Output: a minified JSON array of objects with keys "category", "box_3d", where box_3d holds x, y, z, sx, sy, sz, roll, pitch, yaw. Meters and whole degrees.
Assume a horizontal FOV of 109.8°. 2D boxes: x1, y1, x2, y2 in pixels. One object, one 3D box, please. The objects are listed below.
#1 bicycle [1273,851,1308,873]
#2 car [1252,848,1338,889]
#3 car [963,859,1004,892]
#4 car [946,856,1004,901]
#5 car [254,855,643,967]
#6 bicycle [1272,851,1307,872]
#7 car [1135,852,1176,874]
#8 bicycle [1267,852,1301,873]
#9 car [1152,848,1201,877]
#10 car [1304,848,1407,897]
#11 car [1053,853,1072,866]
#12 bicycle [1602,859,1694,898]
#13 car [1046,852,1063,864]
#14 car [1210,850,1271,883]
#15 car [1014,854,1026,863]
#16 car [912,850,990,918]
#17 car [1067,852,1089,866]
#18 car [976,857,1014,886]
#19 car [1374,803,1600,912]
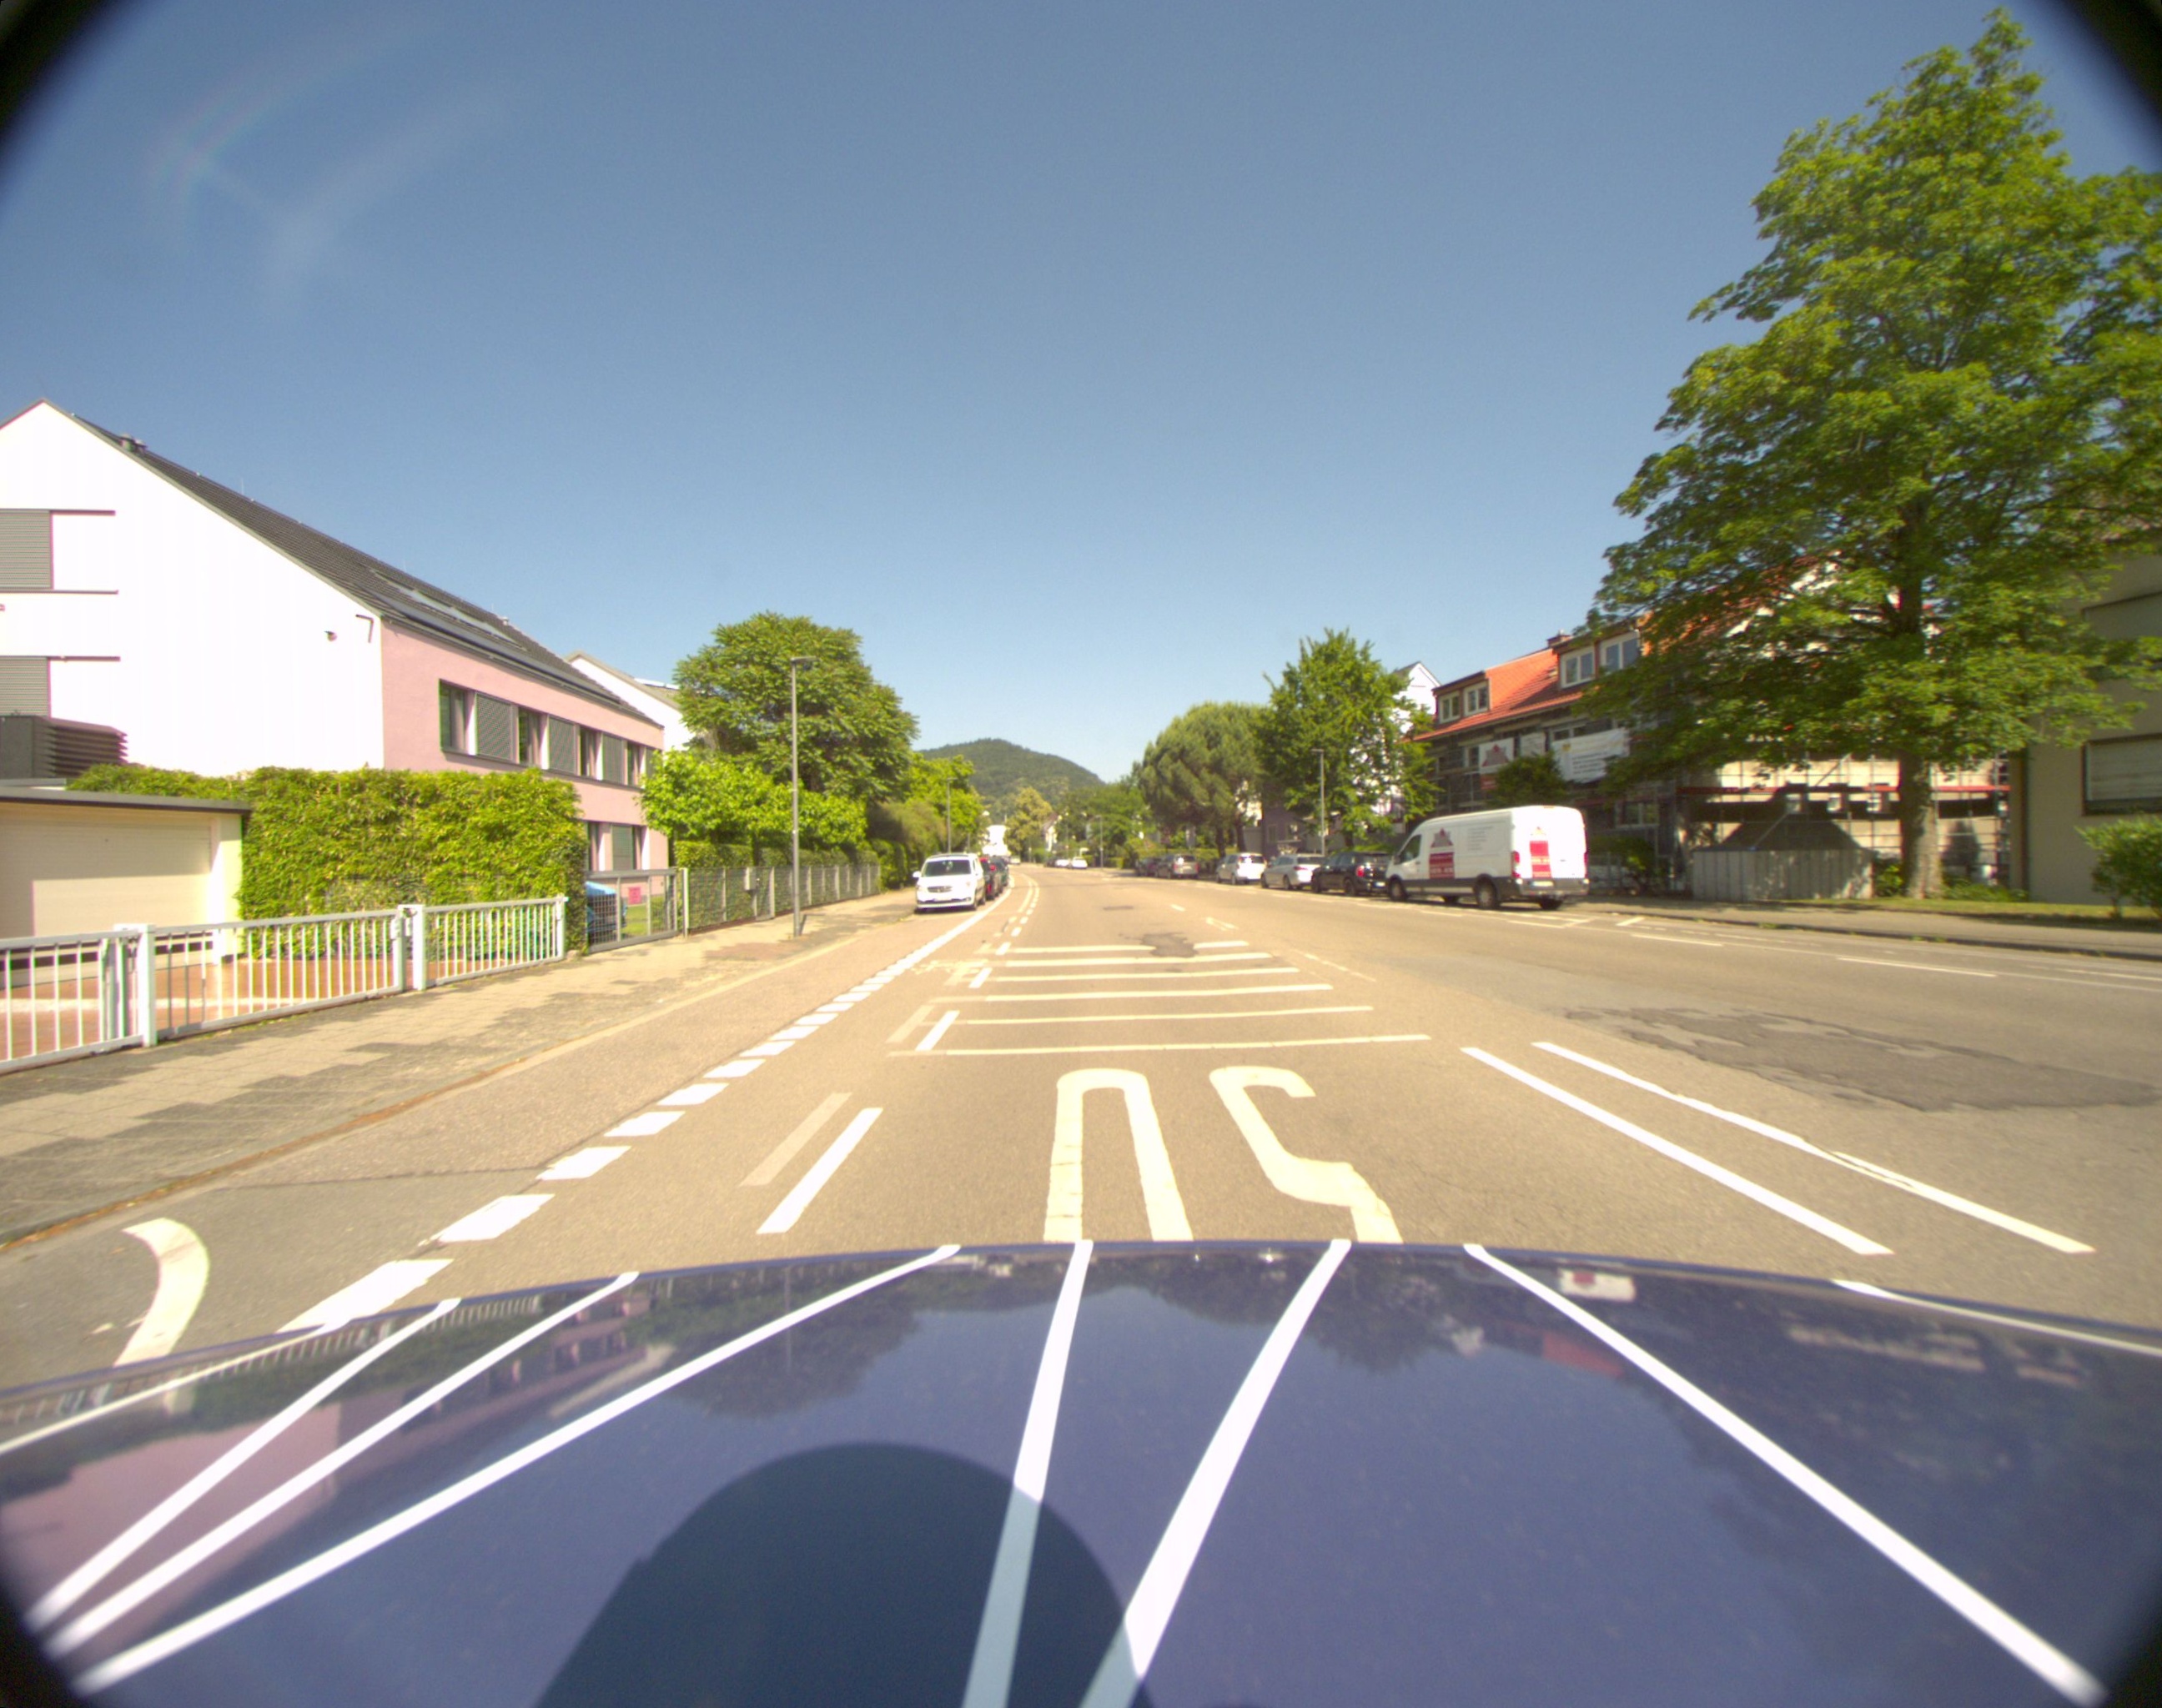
[{"category":"bicycle","box_3d":[13.645,0.508,49.477,2.179,1.375,0.502,0,0,-11]},{"category":"car","box_3d":[8.679,0.577,31.226,1.725,1.550,4.669,0,0,-7]},{"category":"car","box_3d":[-4.462,0.956,35.172,1.768,1.435,4.066,0,0,-6]},{"category":"car","box_3d":[-4.033,0.911,29.496,1.767,1.584,4.312,-1,0,-2]},{"category":"car","box_3d":[-10.982,0.938,13.535,5.101,1.696,1.978,-2,0,-3]},{"category":"bicycle","box_3d":[13.402,0.489,48.871,2.179,1.375,0.502,0,0,-11]},{"category":"car","box_3d":[5.172,0.628,53.398,1.847,1.448,4.190,0,0,-9]},{"category":"bicycle","box_3d":[13.521,0.552,50.560,2.179,1.375,0.502,0,0,-11]},{"category":"car","box_3d":[5.968,0.505,48.091,1.847,1.754,4.582,0,0,-9]},{"category":"car","box_3d":[9.388,0.612,26.348,1.725,1.550,3.997,0,0,-7]},{"category":"car","box_3d":[-2.456,0.677,100.131,2.000,1.608,3.997,-1,0,-8]},{"category":"bicycle","box_3d":[15.799,0.674,21.176,2.074,0.995,0.775,-1,1,-6]},{"category":"car","box_3d":[-3.841,0.624,108.970,2.000,1.674,3.997,-1,0,-8]},{"category":"car","box_3d":[7.770,0.600,37.373,1.725,1.550,3.997,0,0,-7]},{"category":"car","box_3d":[-11.838,0.874,147.804,2.007,1.803,4.761,0,0,-9]},{"category":"car","box_3d":[-4.027,0.840,24.193,1.767,1.816,4.596,-3,1,-2]},{"category":"car","box_3d":[-0.343,0.602,87.601,1.960,1.543,3.997,-1,0,-8]},{"category":"car","box_3d":[-4.847,0.968,43.500,1.817,1.454,4.786,-4,0,-3]},{"category":"car","box_3d":[10.548,0.099,20.488,2.096,2.482,5.947,0,0,-11]}]
